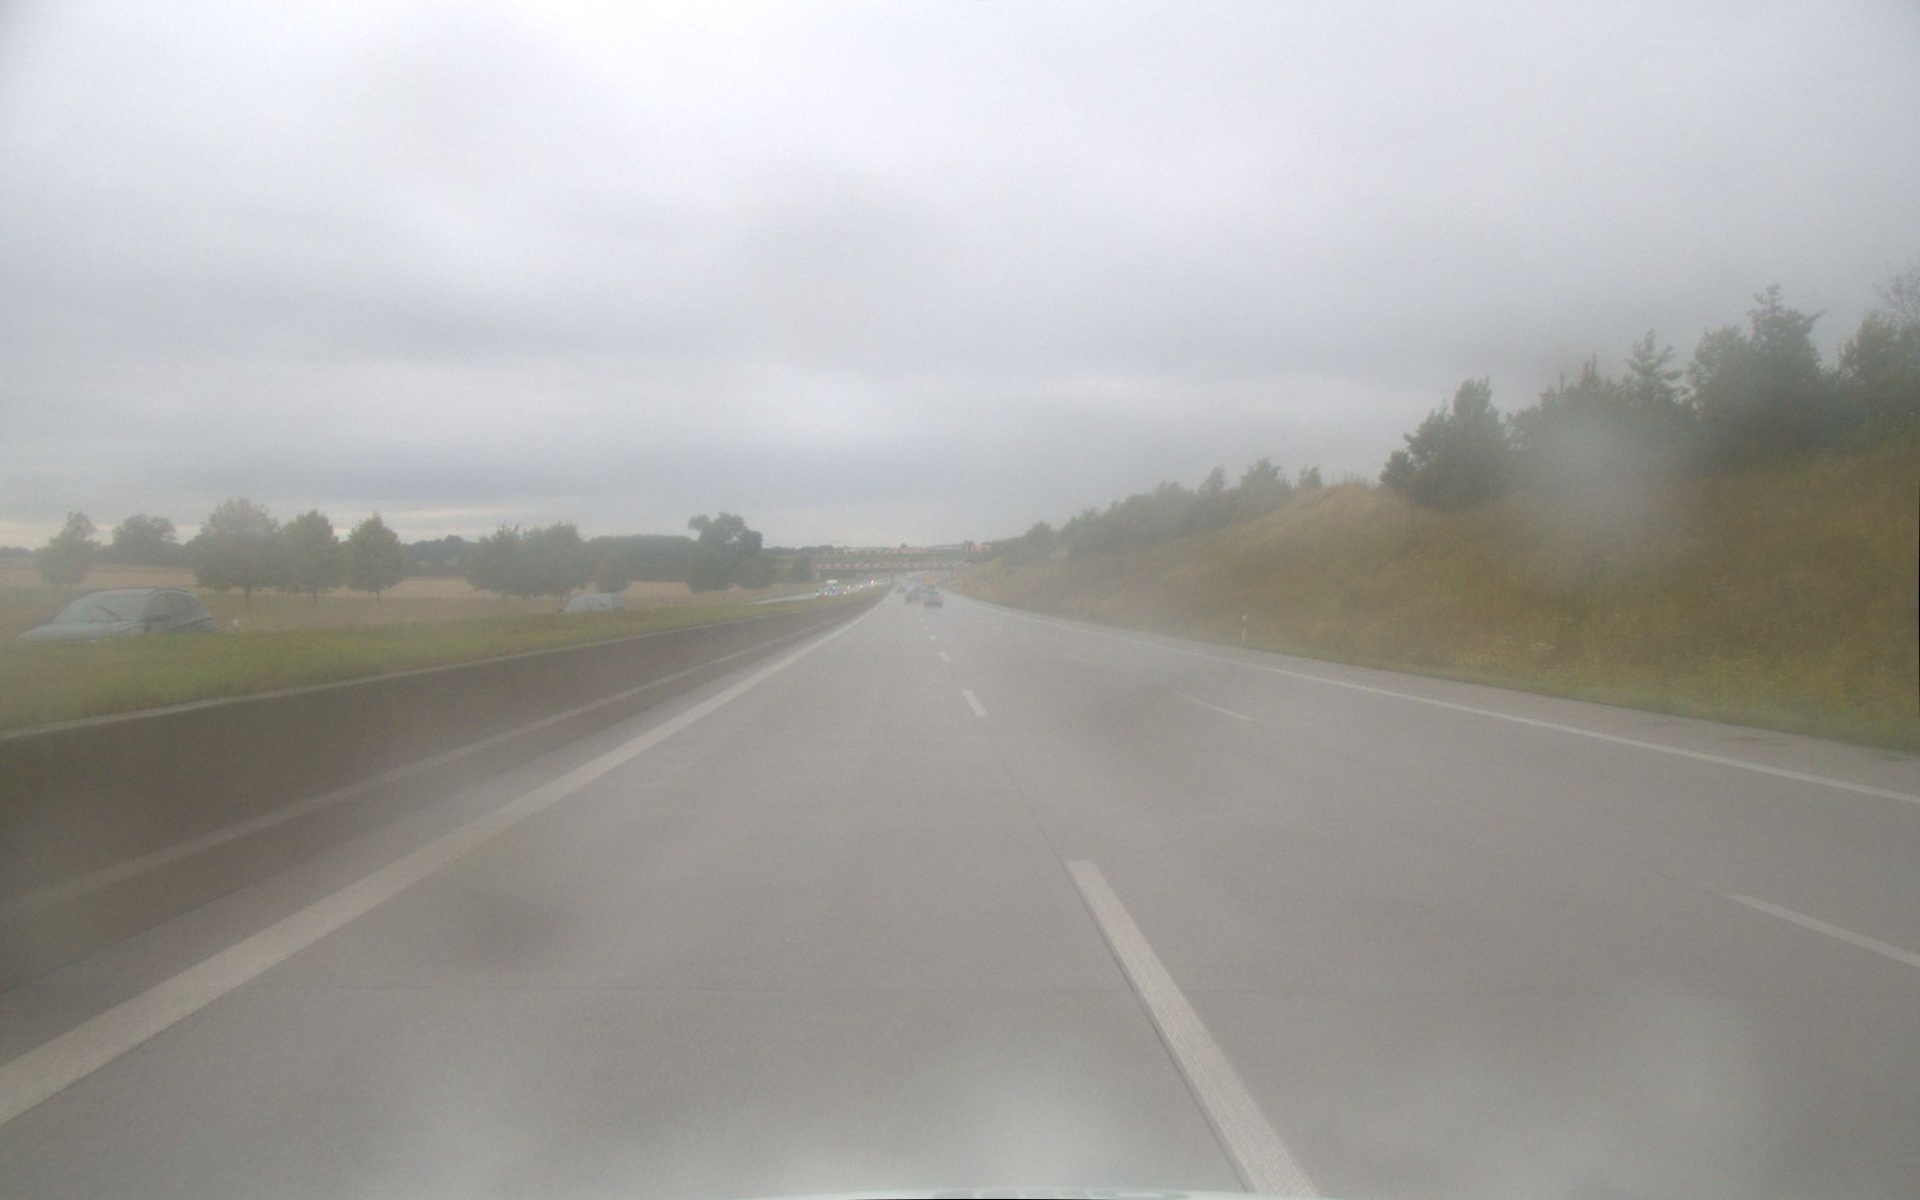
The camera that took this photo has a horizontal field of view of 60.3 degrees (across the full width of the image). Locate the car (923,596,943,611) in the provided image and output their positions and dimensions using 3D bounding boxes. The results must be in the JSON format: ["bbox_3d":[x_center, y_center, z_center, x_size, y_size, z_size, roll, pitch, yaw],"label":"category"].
[{"bbox_3d":[-2.689,0.341,162.326,1.811,1.354,4.428,1,2,-3],"label":"car"}]

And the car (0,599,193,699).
[{"bbox_3d":[-13.991,0.711,26.352,1.570,1.411,4.621,0,1,-3],"label":"car"}]
